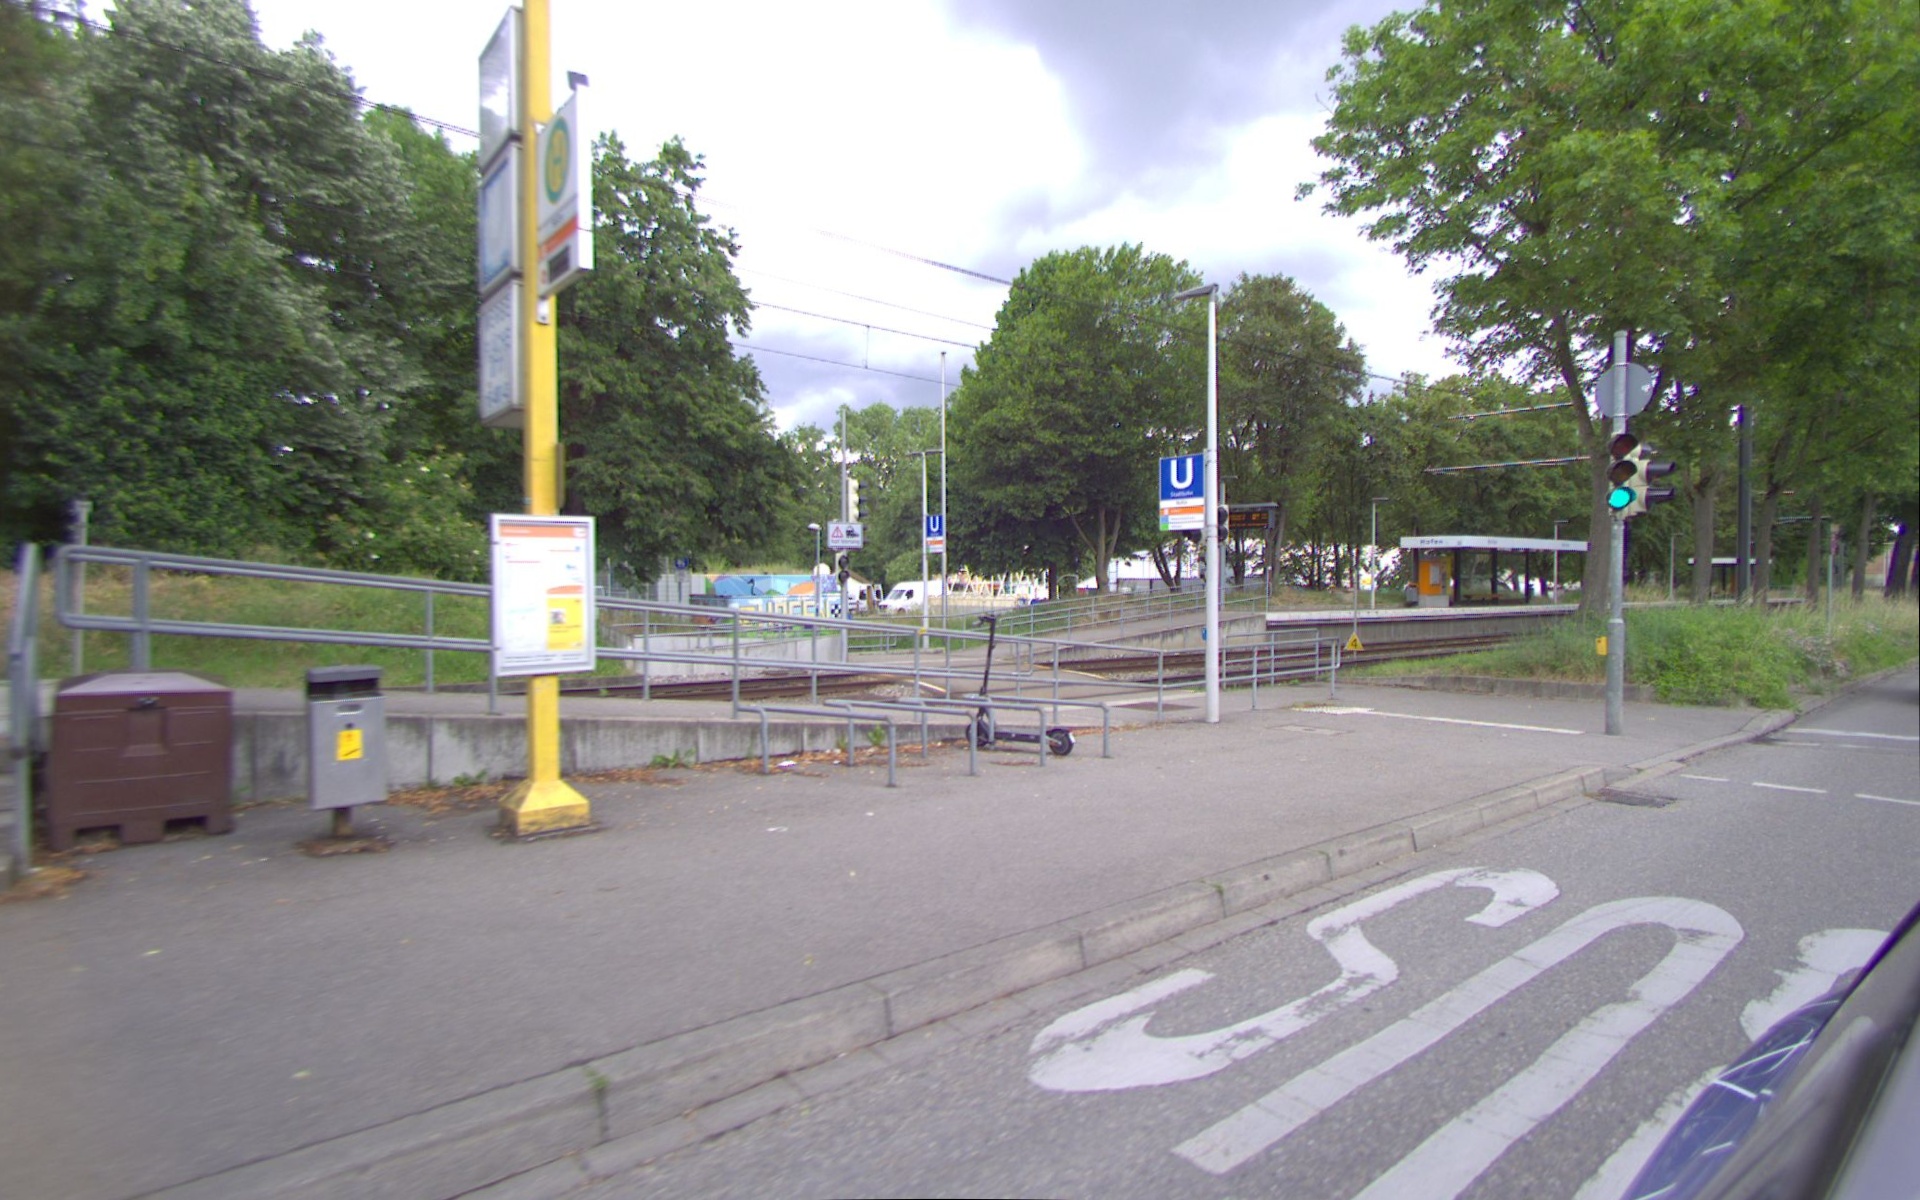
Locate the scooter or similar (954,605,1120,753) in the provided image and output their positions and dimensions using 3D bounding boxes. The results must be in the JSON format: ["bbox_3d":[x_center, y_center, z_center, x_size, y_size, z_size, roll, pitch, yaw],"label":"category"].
[{"bbox_3d":[0.688,0.681,9.209,1.445,1.258,0.480,0,0,29],"label":"scooter or similar"}]

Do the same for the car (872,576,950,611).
[{"bbox_3d":[-3.506,-0.477,73.290,5.705,2.413,1.997,0,0,-41],"label":"car"}]
